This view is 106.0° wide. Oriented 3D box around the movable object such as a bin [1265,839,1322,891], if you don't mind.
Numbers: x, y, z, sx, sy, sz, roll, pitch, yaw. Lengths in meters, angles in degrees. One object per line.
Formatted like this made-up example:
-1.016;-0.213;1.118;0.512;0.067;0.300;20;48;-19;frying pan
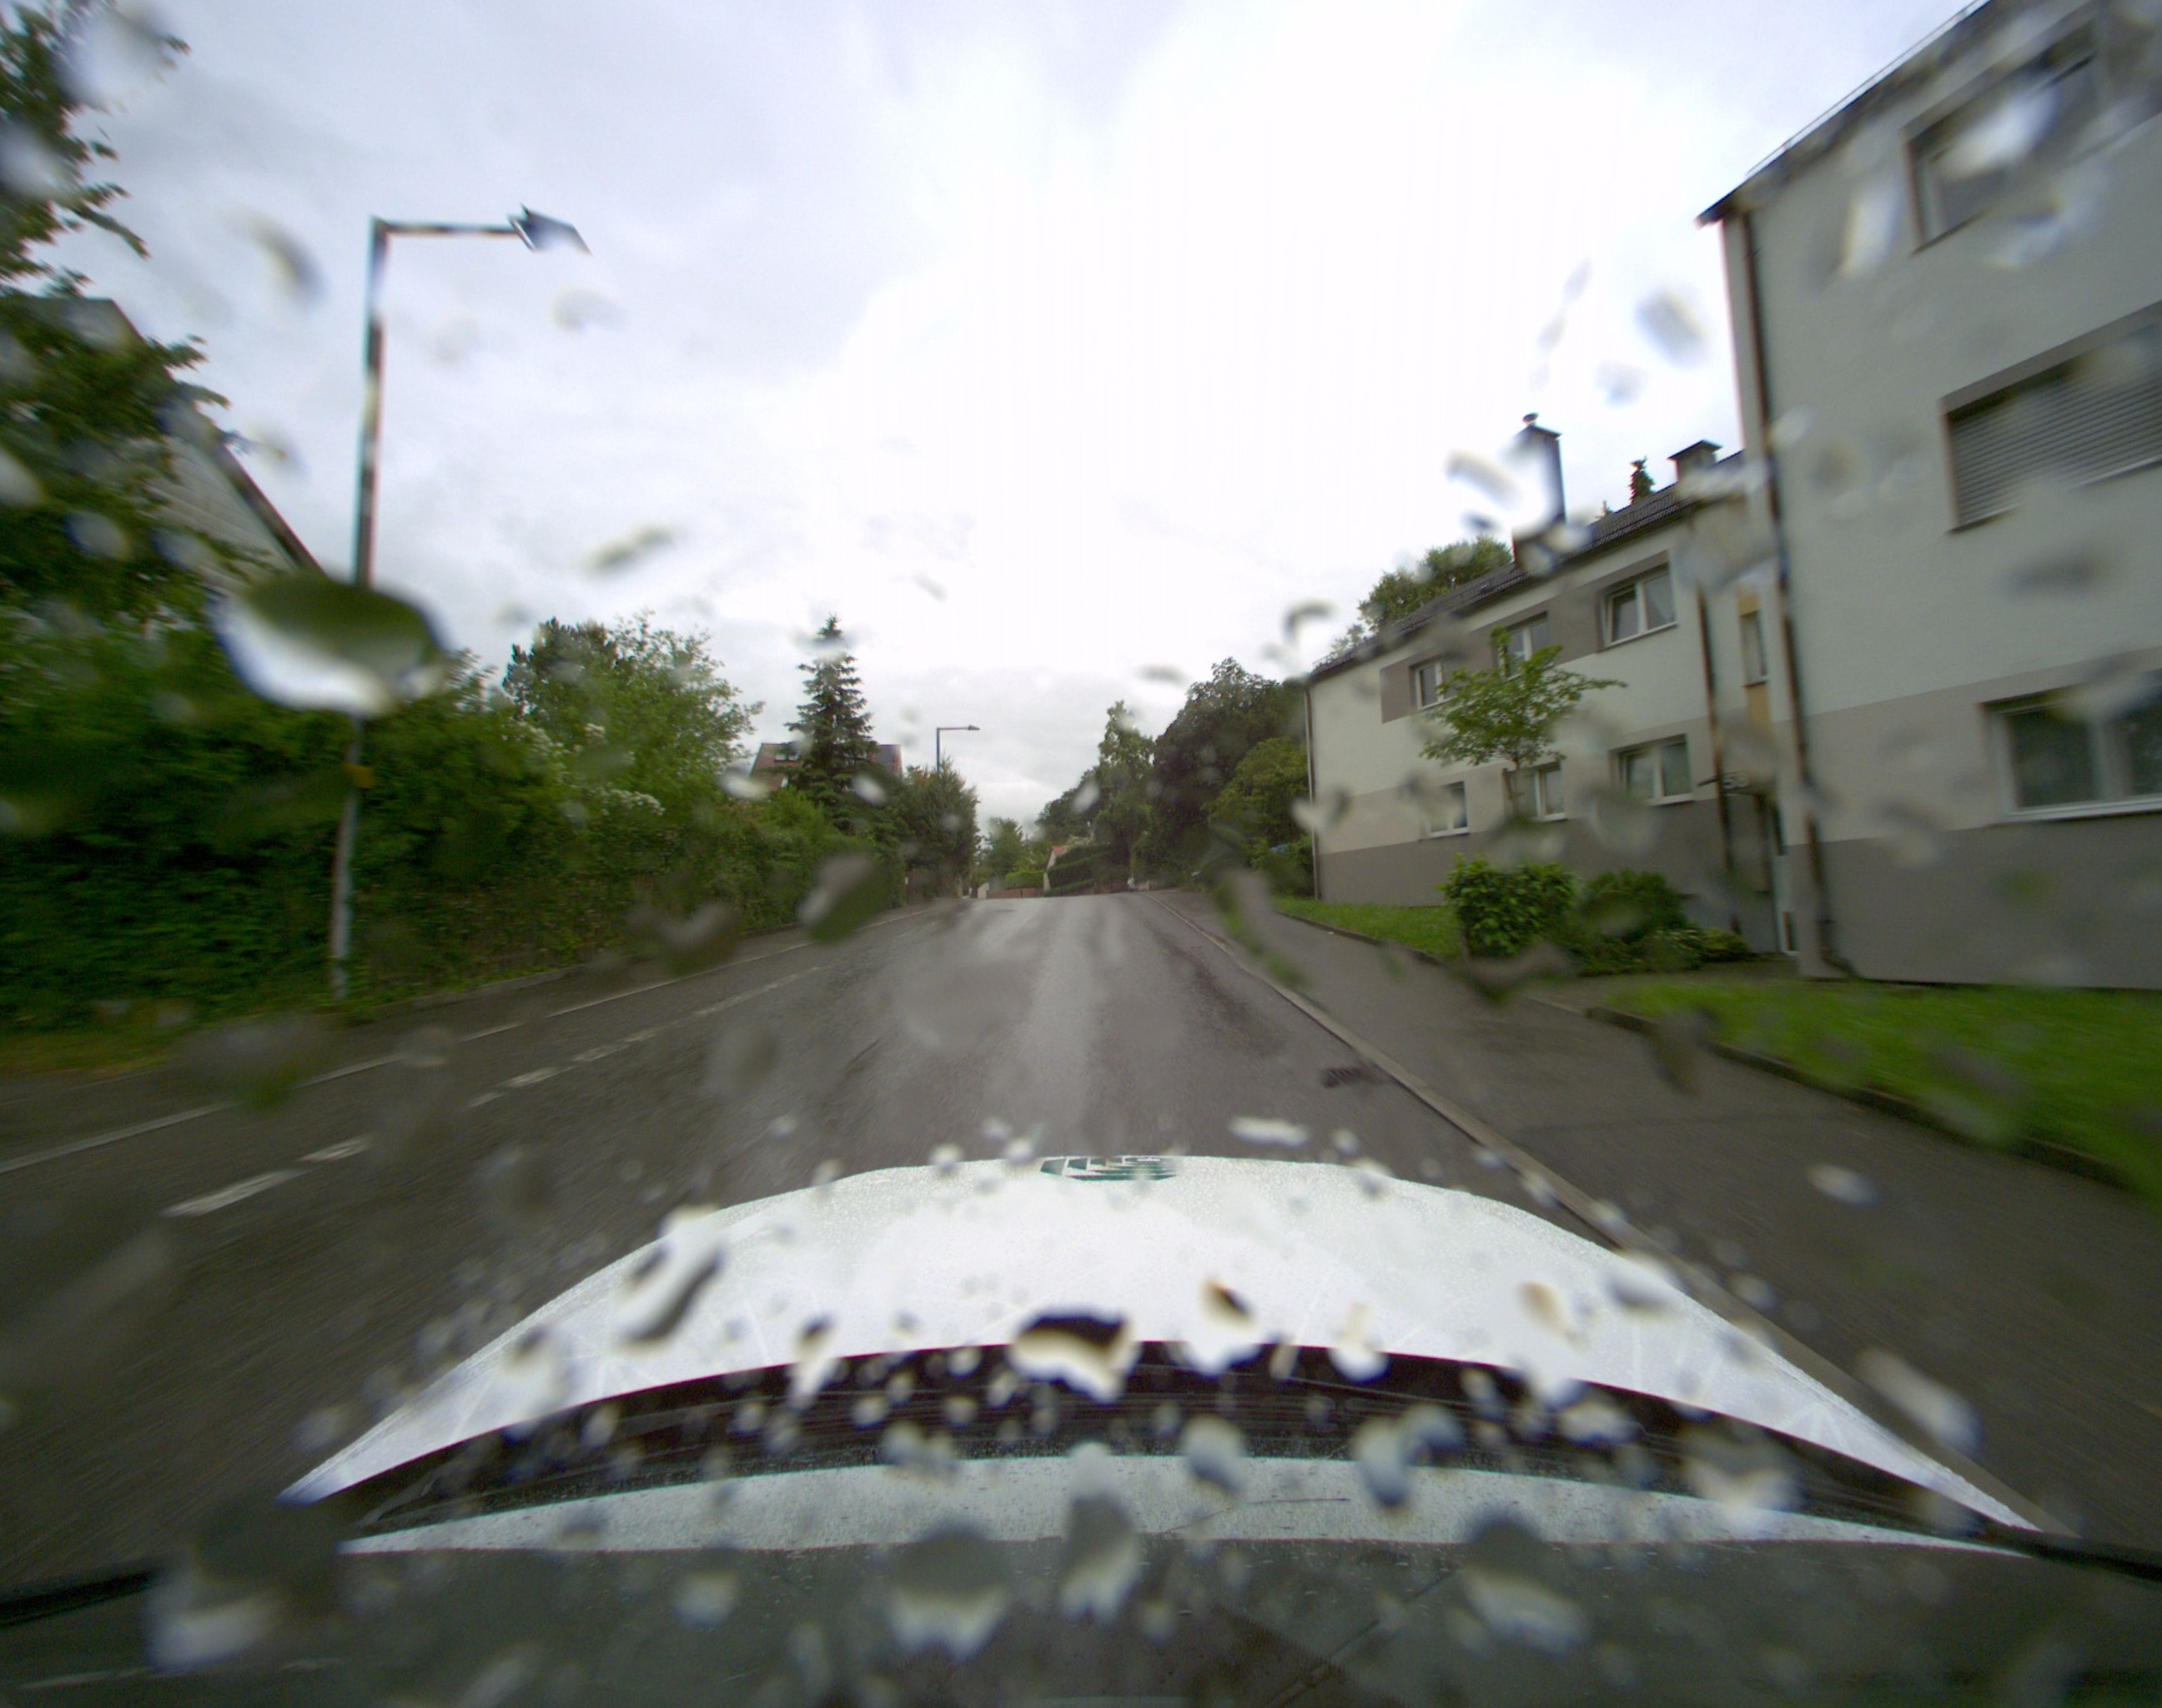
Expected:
6.340;0.331;24.300;1.249;1.497;0.973;-2;-1;-33;movable object such as a bin

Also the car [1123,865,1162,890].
4.335;1.697;58.166;1.535;1.535;3.825;-6;-1;-14;car

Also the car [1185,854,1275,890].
7.452;0.925;40.671;4.302;1.717;1.734;0;-3;12;car
